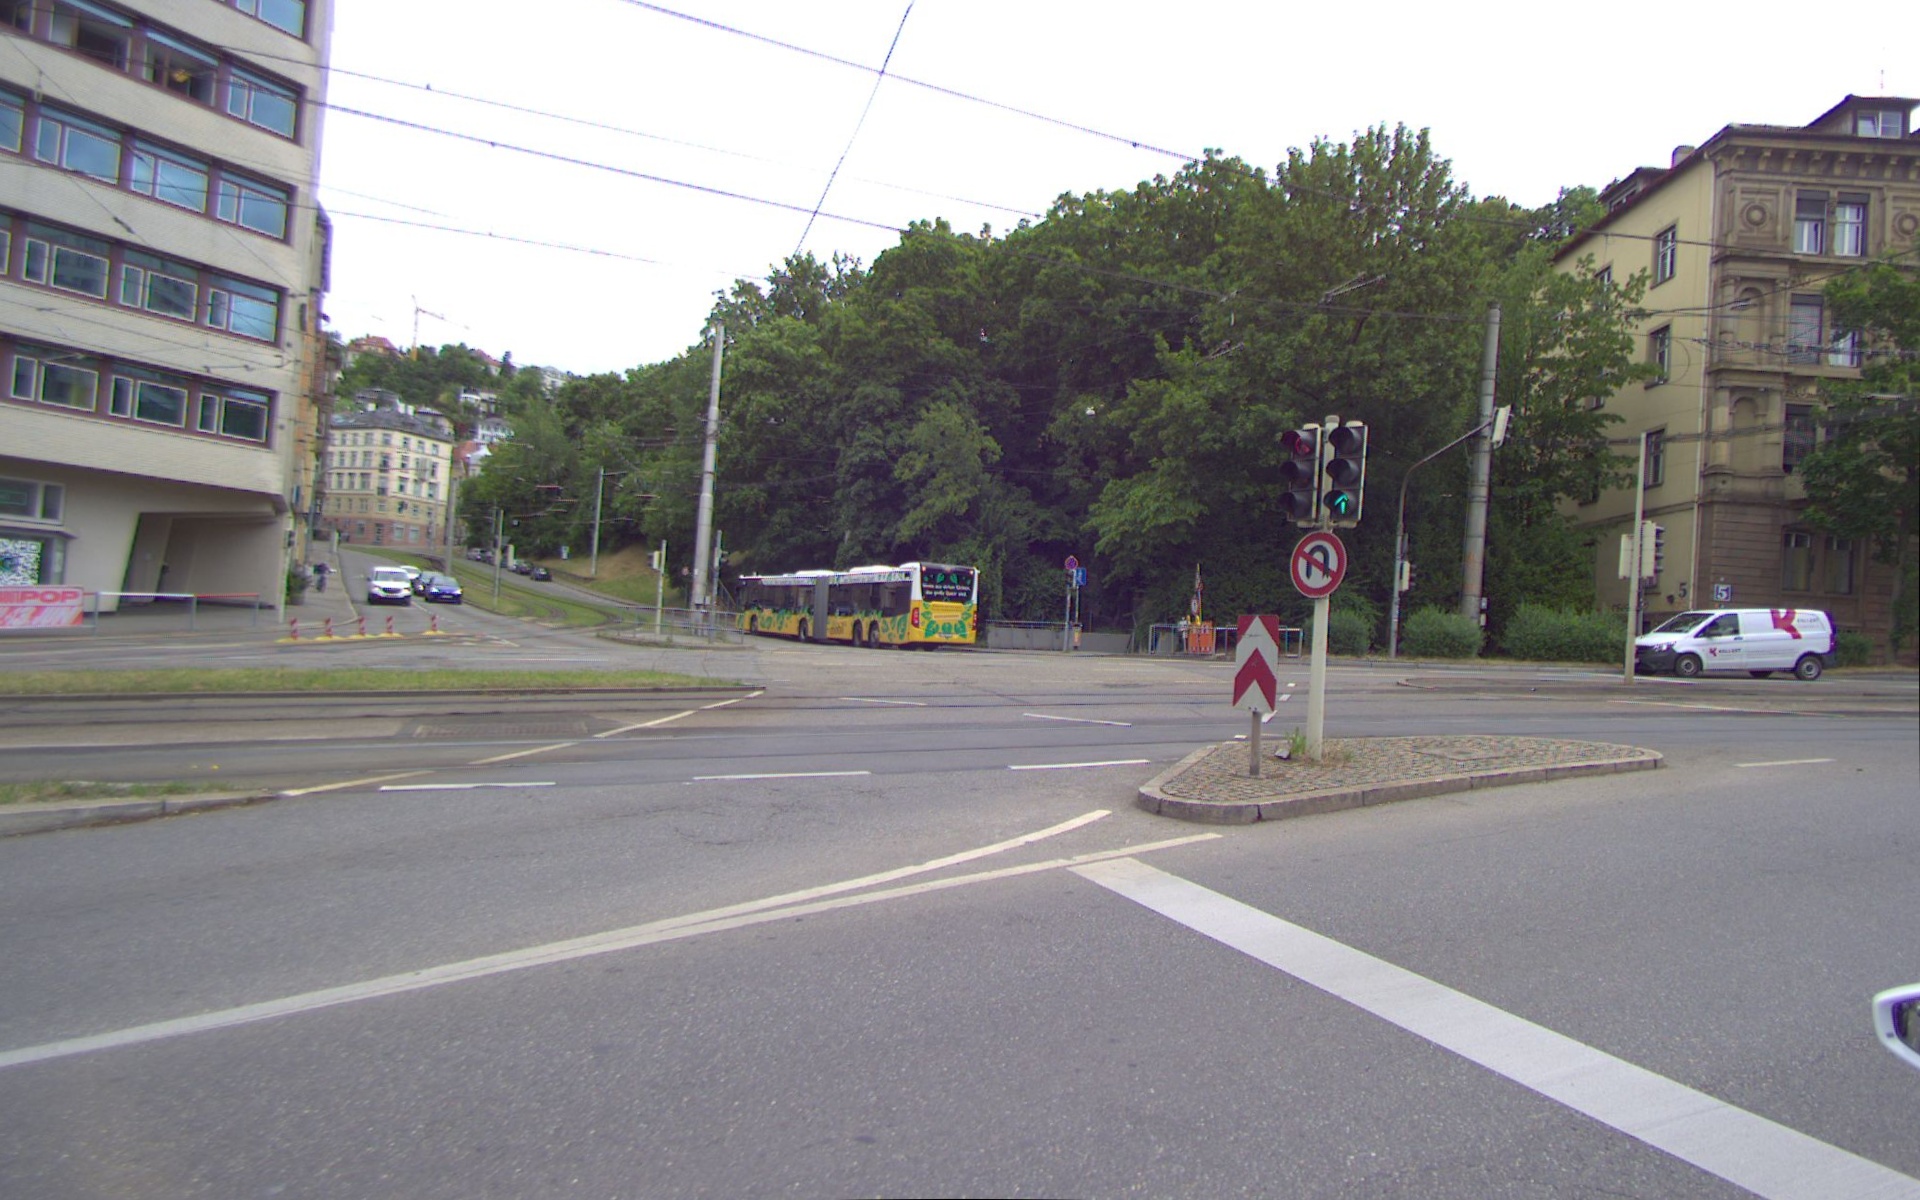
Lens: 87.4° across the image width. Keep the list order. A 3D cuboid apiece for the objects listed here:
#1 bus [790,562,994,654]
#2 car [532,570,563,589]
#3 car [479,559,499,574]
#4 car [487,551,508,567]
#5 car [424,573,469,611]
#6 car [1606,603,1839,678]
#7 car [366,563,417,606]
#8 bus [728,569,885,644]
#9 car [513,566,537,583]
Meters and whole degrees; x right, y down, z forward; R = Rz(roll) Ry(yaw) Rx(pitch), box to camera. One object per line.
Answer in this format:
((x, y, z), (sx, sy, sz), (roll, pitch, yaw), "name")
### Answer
((-3.084, 0.292, 39.267), (3.349, 3.069, 11.458), (1, 0, -29), "bus")
((-43.164, -2.096, 105.029), (2.401, 1.862, 3.966), (1, 0, -31), "car")
((-62.323, -4.410, 132.968), (1.977, 1.862, 3.966), (1, 0, -31), "car")
((-58.074, -5.107, 126.225), (1.977, 1.862, 3.966), (1, 0, -31), "car")
((-29.088, -0.440, 56.885), (1.977, 2.040, 3.966), (1, 0, -31), "car")
((20.987, 1.116, 27.798), (4.894, 1.874, 2.001), (1, -2, 1), "car")
((-28.840, -0.742, 50.887), (1.979, 2.040, 3.963), (1, 0, -34), "car")
((-7.486, 0.269, 46.890), (3.286, 3.084, 11.268), (1, 0, -31), "bus")
((-49.076, -2.856, 113.303), (1.977, 1.862, 3.966), (1, 0, -31), "car")
